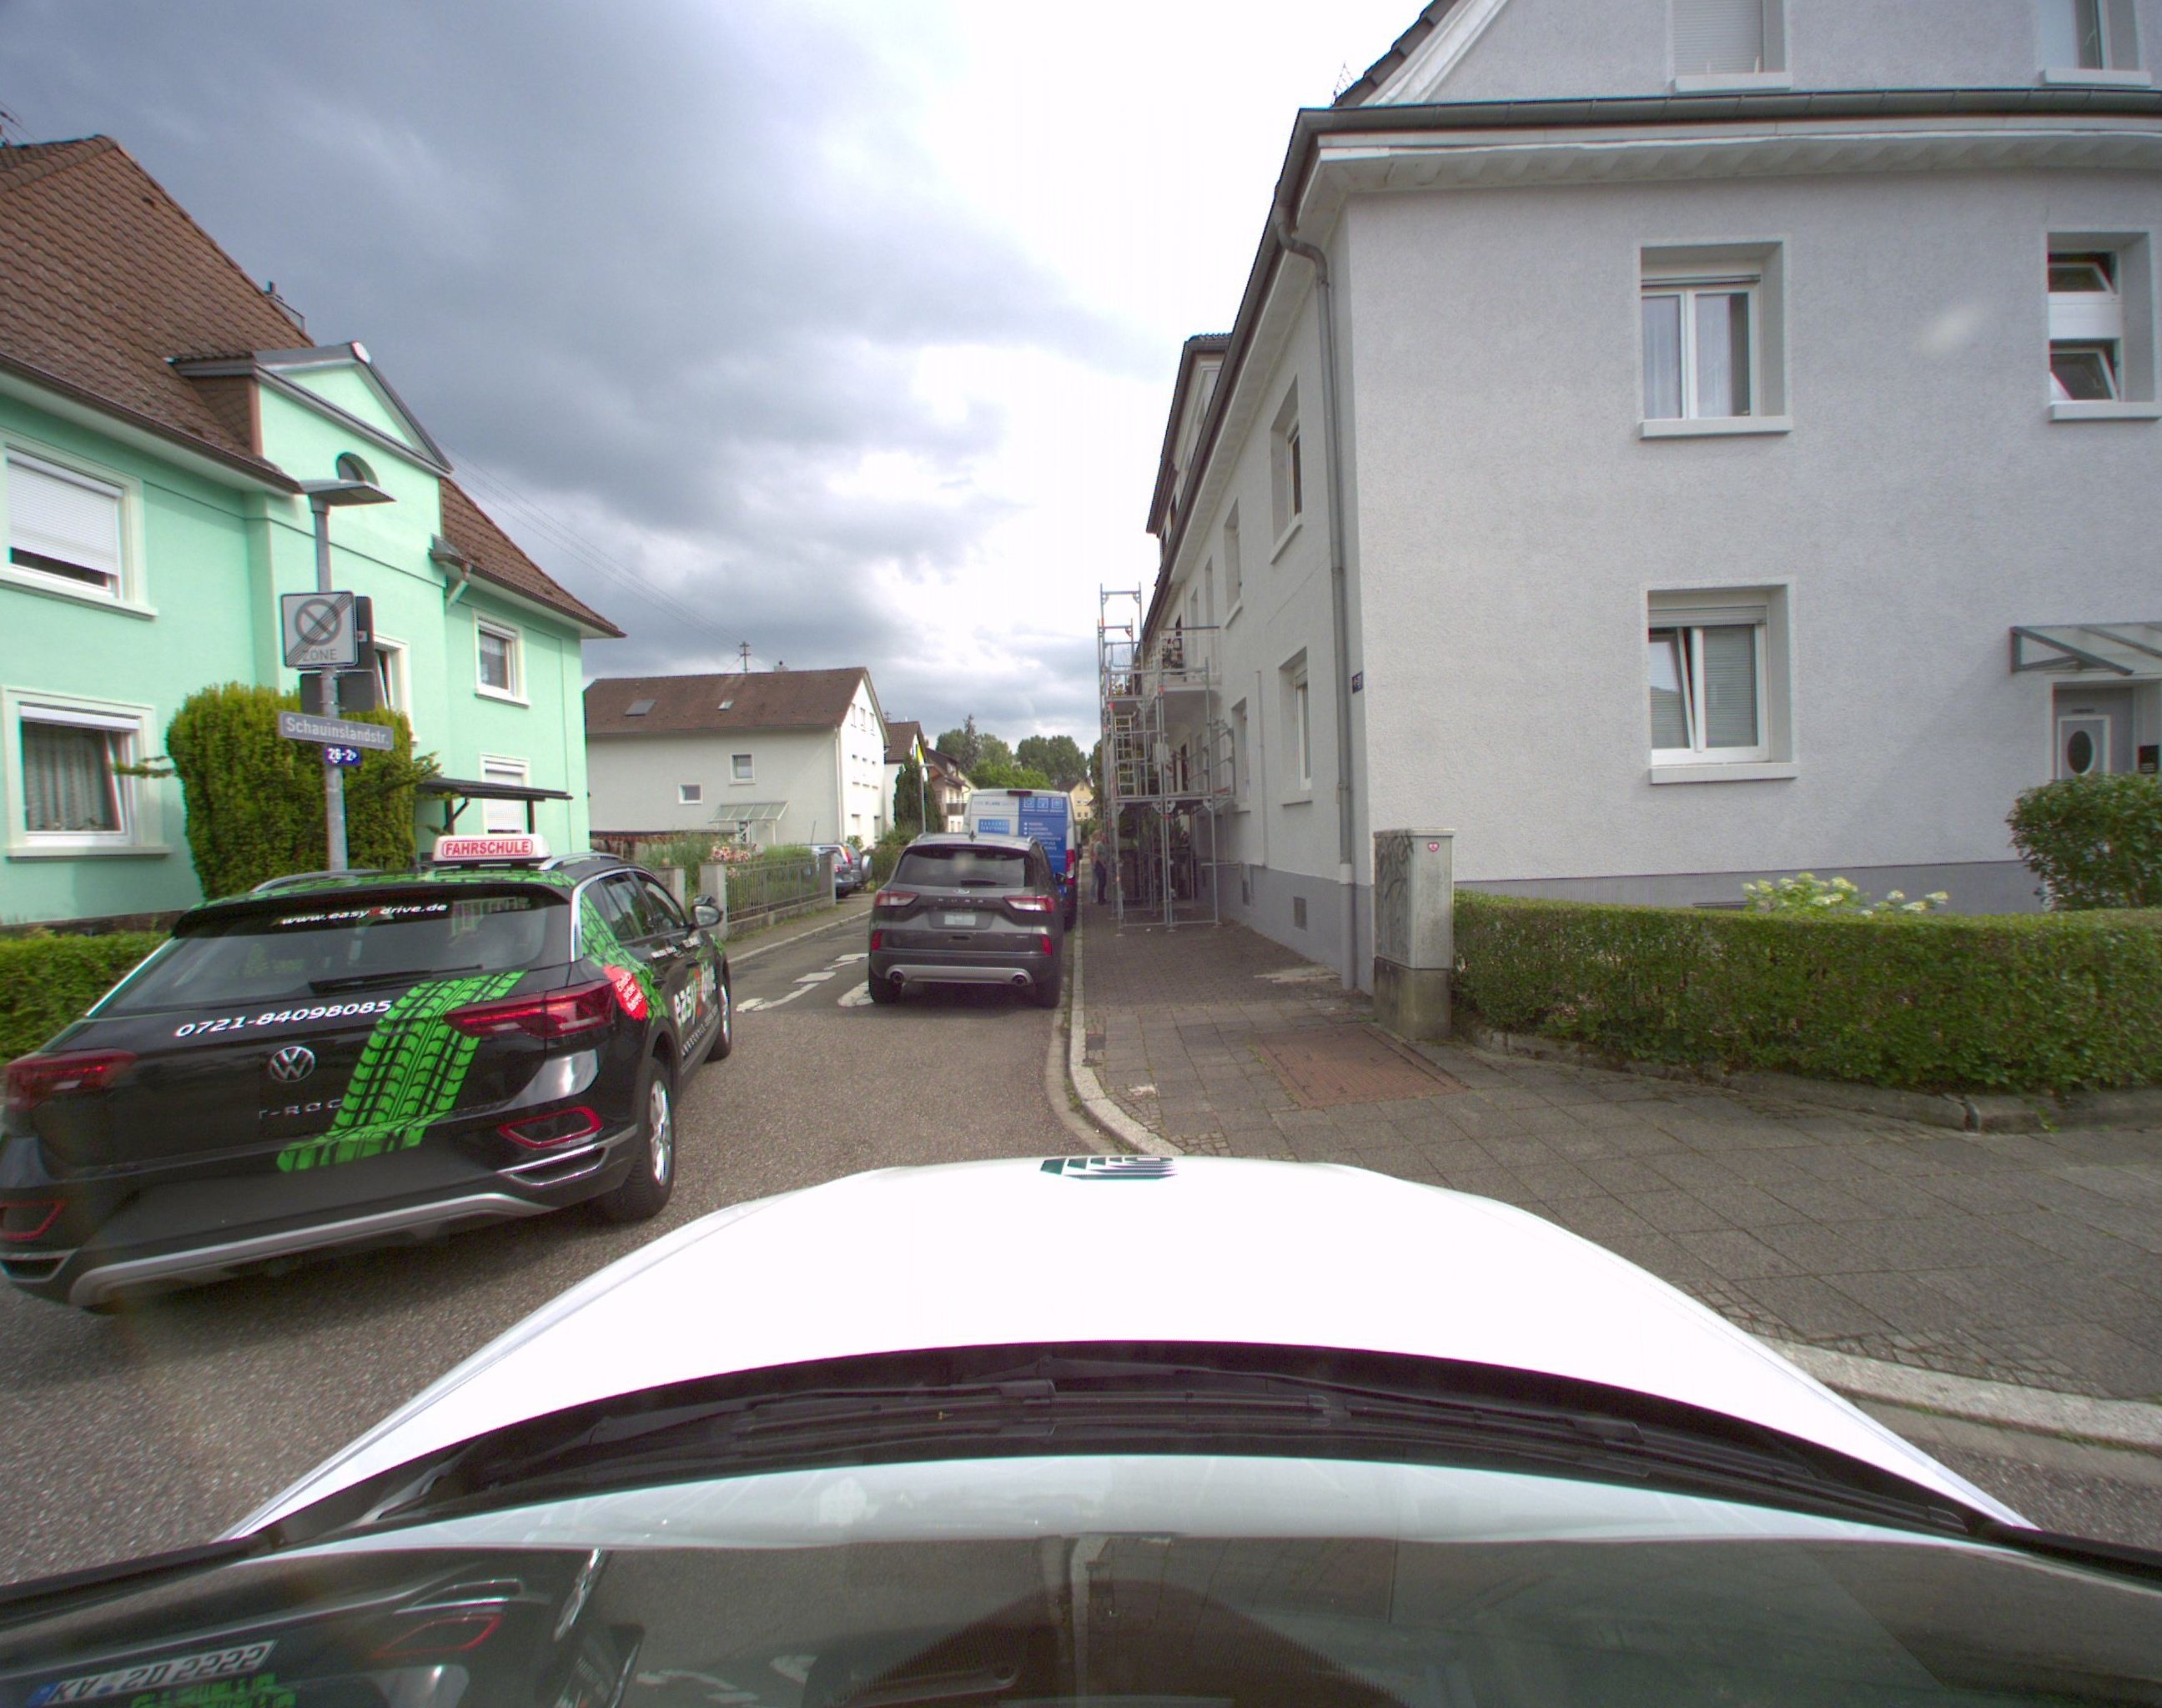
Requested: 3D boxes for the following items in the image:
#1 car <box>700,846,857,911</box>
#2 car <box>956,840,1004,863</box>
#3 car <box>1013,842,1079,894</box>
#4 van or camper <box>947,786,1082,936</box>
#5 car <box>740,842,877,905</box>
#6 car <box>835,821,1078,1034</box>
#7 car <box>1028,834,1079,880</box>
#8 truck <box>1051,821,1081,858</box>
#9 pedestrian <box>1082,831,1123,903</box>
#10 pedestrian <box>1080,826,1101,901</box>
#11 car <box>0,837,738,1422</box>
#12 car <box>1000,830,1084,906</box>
[{"bbox_3d":[-8.048,0.627,21.921,3.564,1.500,1.585,-3,1,-4],"label":"car"},{"bbox_3d":[-8.810,-0.205,71.161,3.979,1.772,1.868,-3,0,-4],"label":"car"},{"bbox_3d":[-1.162,0.398,27.316,1.989,1.455,4.338,-3,1,-2],"label":"car"},{"bbox_3d":[-1.139,0.056,16.309,2.185,2.458,5.053,-2,1,-1],"label":"van or camper"},{"bbox_3d":[-8.181,0.552,24.710,3.564,1.667,1.585,-3,1,-4],"label":"car"},{"bbox_3d":[-1.139,0.576,9.119,1.989,1.726,4.338,-3,1,-2],"label":"car"},{"bbox_3d":[-1.190,0.071,35.278,1.989,1.749,4.338,-3,1,-2],"label":"car"},{"bbox_3d":[-1.159,-1.163,62.901,2.124,2.657,4.581,-3,1,-2],"label":"truck"},{"bbox_3d":[0.500,0.303,18.826,0.595,1.629,0.629,-3,0,41],"label":"pedestrian"},{"bbox_3d":[0.225,0.225,19.365,0.406,1.762,0.513,-3,0,0],"label":"pedestrian"},{"bbox_3d":[-2.973,0.752,4.317,1.822,1.520,4.016,-3,1,-19],"label":"car"},{"bbox_3d":[-1.039,0.294,22.222,1.989,1.772,4.338,-3,1,-2],"label":"car"}]
